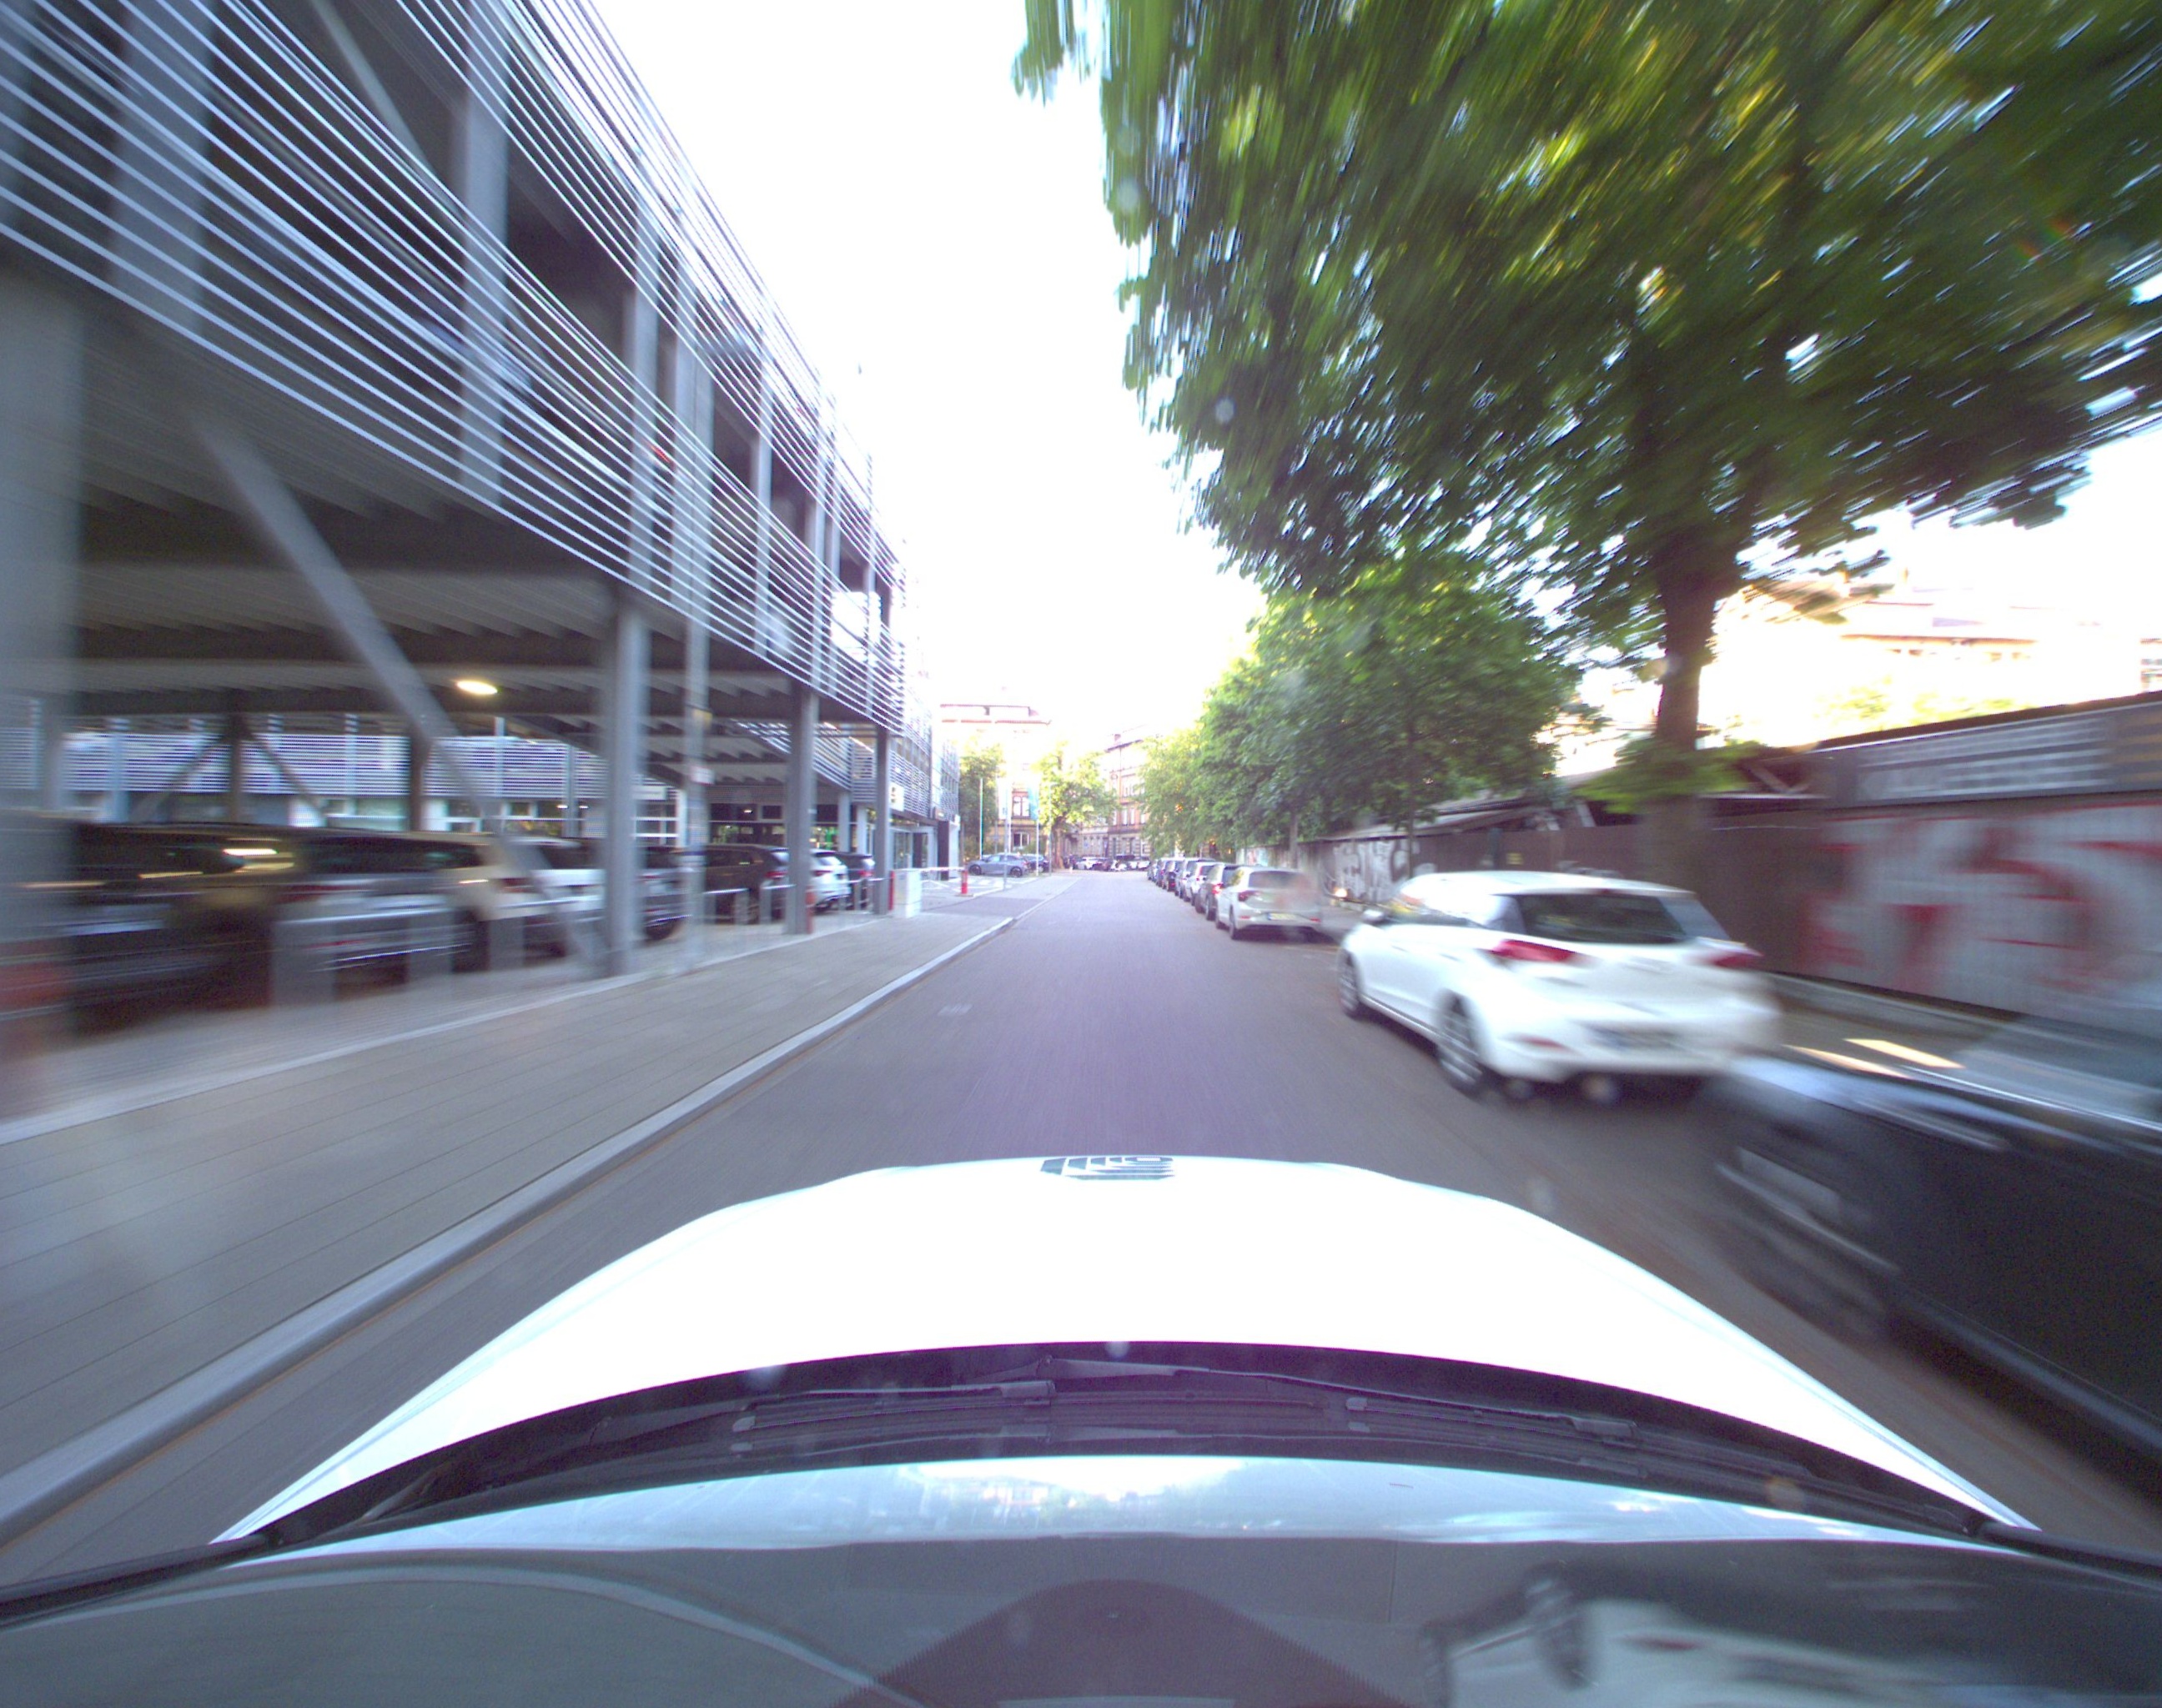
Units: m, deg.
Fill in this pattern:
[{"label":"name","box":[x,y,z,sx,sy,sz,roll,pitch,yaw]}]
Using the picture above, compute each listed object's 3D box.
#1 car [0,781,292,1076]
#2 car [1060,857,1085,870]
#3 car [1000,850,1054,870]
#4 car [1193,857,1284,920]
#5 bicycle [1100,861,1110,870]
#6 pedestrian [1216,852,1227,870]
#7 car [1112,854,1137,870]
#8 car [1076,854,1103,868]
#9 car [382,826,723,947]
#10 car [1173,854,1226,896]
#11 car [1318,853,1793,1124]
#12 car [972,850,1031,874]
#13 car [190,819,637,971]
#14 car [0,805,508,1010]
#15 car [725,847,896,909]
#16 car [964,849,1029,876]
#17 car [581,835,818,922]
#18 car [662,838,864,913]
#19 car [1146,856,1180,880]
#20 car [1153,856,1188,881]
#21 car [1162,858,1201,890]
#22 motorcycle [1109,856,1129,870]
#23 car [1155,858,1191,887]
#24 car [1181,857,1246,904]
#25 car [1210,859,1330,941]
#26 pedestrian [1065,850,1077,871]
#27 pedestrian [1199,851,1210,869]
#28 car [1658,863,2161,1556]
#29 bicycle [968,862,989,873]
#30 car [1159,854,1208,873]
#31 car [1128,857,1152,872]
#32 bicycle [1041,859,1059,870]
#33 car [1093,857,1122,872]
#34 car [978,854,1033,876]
[{"label":"car","box":[-8.163,0.399,5.425,4.085,1.684,1.862,0,1,3]},{"label":"car","box":[-0.982,1.116,94.731,1.661,1.431,3.868,1,1,-22]},{"label":"car","box":[-4.901,0.560,74.594,4.819,1.732,1.918,1,1,-4]},{"label":"car","box":[4.121,0.840,21.934,1.752,1.454,4.395,0,0,2]},{"label":"bicycle","box":[2.392,1.149,80.316,0.421,0.822,1.470,1,1,24]},{"label":"pedestrian","box":[14.290,0.687,82.874,0.774,1.804,0.839,0,0,-13]},{"label":"car","box":[5.017,0.927,94.119,1.681,1.782,2.993,1,0,-22]},{"label":"car","box":[0.921,0.778,90.184,1.660,1.431,4.140,1,1,-20]},{"label":"car","box":[-7.948,0.448,12.522,4.047,1.684,1.862,0,1,3]},{"label":"car","box":[4.749,0.810,33.055,1.752,1.604,3.876,0,0,2]},{"label":"car","box":[3.356,0.781,6.778,1.715,1.519,4.028,0,1,2]},{"label":"car","box":[-5.744,0.557,58.933,4.053,1.618,1.765,0,1,0]},{"label":"car","box":[-8.085,0.447,10.144,4.085,1.684,1.862,0,1,3]},{"label":"car","box":[-8.132,0.420,7.737,4.085,1.684,1.862,0,1,3]},{"label":"car","box":[-7.249,0.648,22.130,3.974,1.586,1.860,0,-2,0]},{"label":"car","box":[-5.743,0.552,55.687,4.116,1.618,1.913,2,1,0]},{"label":"car","box":[-7.881,0.470,17.092,4.070,1.684,1.862,0,1,3]},{"label":"car","box":[-7.511,0.481,19.506,4.062,1.684,1.862,0,1,3]},{"label":"car","box":[5.391,0.909,54.004,1.691,1.477,4.209,0,0,-2]},{"label":"car","box":[5.407,0.862,49.592,1.690,1.477,3.558,0,0,-1]},{"label":"car","box":[4.878,0.938,40.012,1.590,1.477,3.776,0,0,2]},{"label":"motorcycle","box":[3.834,0.929,82.387,1.930,1.340,0.576,0,0,-9]},{"label":"car","box":[5.024,0.973,44.740,1.688,1.477,4.119,0,0,2]},{"label":"car","box":[4.482,0.860,28.048,1.752,1.441,3.876,0,1,2]},{"label":"car","box":[3.841,0.867,17.209,1.752,1.442,4.008,0,1,2]},{"label":"pedestrian","box":[-0.891,0.558,71.076,0.737,1.804,1.115,0,1,-18]},{"label":"pedestrian","box":[12.909,0.646,85.201,0.843,1.804,0.771,0,0,-18]},{"label":"car","box":[3.106,0.793,1.618,1.557,1.450,3.455,0,1,2]},{"label":"bicycle","box":[-9.437,1.229,74.788,1.862,1.028,0.442,0,1,-22]},{"label":"car","box":[8.293,0.748,65.768,3.994,1.466,1.859,1,1,-44]},{"label":"car","box":[6.579,1.185,90.681,1.681,1.525,2.747,1,0,-22]},{"label":"bicycle","box":[-2.964,1.013,77.166,1.678,1.028,0.442,0,1,-22]},{"label":"car","box":[2.772,1.123,85.713,1.661,1.431,3.962,1,1,-21]},{"label":"car","box":[-5.835,0.856,63.134,4.034,1.475,1.919,2,1,-2]}]
